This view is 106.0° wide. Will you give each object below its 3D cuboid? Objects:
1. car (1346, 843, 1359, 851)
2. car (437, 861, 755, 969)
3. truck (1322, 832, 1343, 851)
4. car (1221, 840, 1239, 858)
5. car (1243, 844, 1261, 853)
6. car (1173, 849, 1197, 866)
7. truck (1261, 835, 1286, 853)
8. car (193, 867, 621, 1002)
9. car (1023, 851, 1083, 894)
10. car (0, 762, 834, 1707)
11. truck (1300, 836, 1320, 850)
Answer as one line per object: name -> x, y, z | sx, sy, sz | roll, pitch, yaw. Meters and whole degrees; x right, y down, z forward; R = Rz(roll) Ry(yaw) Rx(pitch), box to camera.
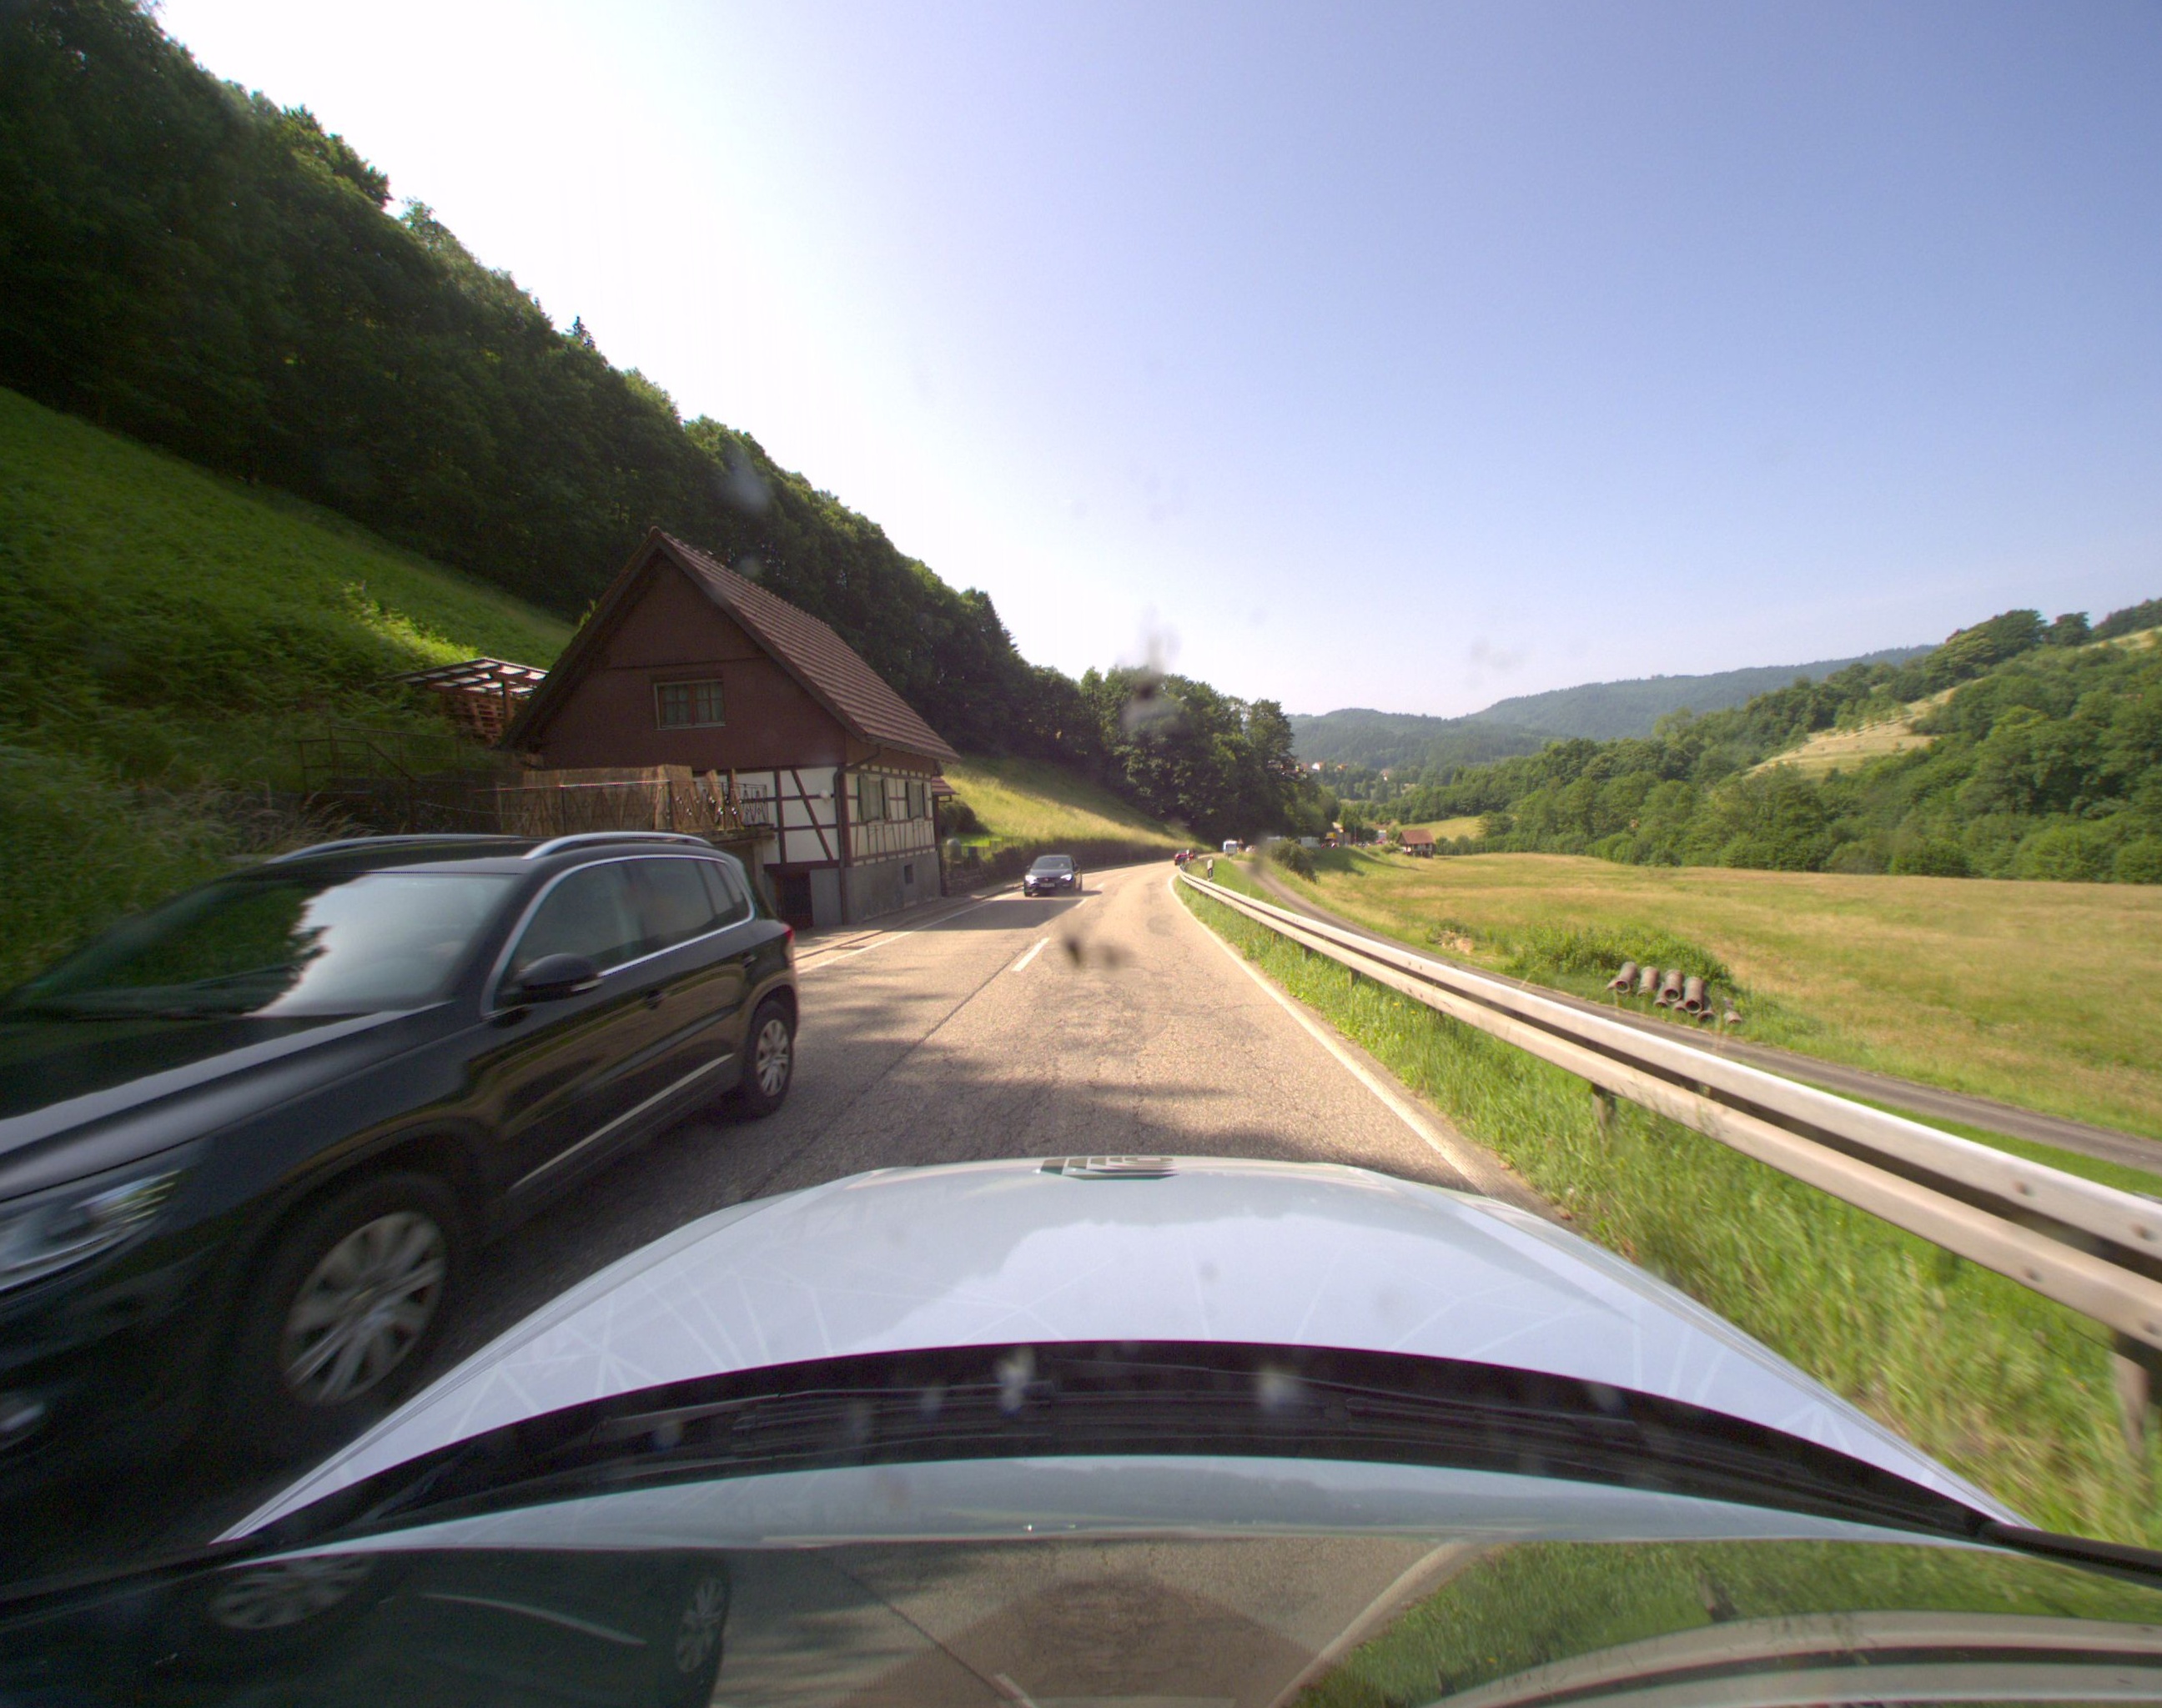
car -> 64.382, -1.706, 193.159 | 1.974, 1.925, 4.026 | 2, 2, 34
car -> -7.389, 0.899, 12.662 | 3.797, 1.432, 1.867 | -1, 1, 5
truck -> 60.374, -2.943, 195.313 | 3.158, 4.396, 6.614 | 1, 2, 33
car -> 21.079, -0.763, 114.990 | 1.979, 2.352, 4.935 | 0, 2, 15
car -> 27.875, -0.890, 132.397 | 1.976, 1.484, 4.023 | 2, 2, 24
car -> 8.922, 0.288, 69.477 | 1.760, 1.335, 3.779 | 0, 2, 11
truck -> 34.553, -1.897, 146.101 | 2.765, 2.997, 6.910 | 2, 2, 27
car -> -8.087, 0.922, 10.005 | 3.797, 1.417, 1.860 | -1, 0, 5
car -> -0.957, 0.609, 29.666 | 1.757, 1.396, 4.149 | -1, 1, 3
car -> -2.752, 0.661, 3.537 | 1.882, 1.645, 4.260 | -2, 1, 2
truck -> 46.545, -2.181, 165.288 | 2.216, 2.804, 6.271 | 1, 0, 31
